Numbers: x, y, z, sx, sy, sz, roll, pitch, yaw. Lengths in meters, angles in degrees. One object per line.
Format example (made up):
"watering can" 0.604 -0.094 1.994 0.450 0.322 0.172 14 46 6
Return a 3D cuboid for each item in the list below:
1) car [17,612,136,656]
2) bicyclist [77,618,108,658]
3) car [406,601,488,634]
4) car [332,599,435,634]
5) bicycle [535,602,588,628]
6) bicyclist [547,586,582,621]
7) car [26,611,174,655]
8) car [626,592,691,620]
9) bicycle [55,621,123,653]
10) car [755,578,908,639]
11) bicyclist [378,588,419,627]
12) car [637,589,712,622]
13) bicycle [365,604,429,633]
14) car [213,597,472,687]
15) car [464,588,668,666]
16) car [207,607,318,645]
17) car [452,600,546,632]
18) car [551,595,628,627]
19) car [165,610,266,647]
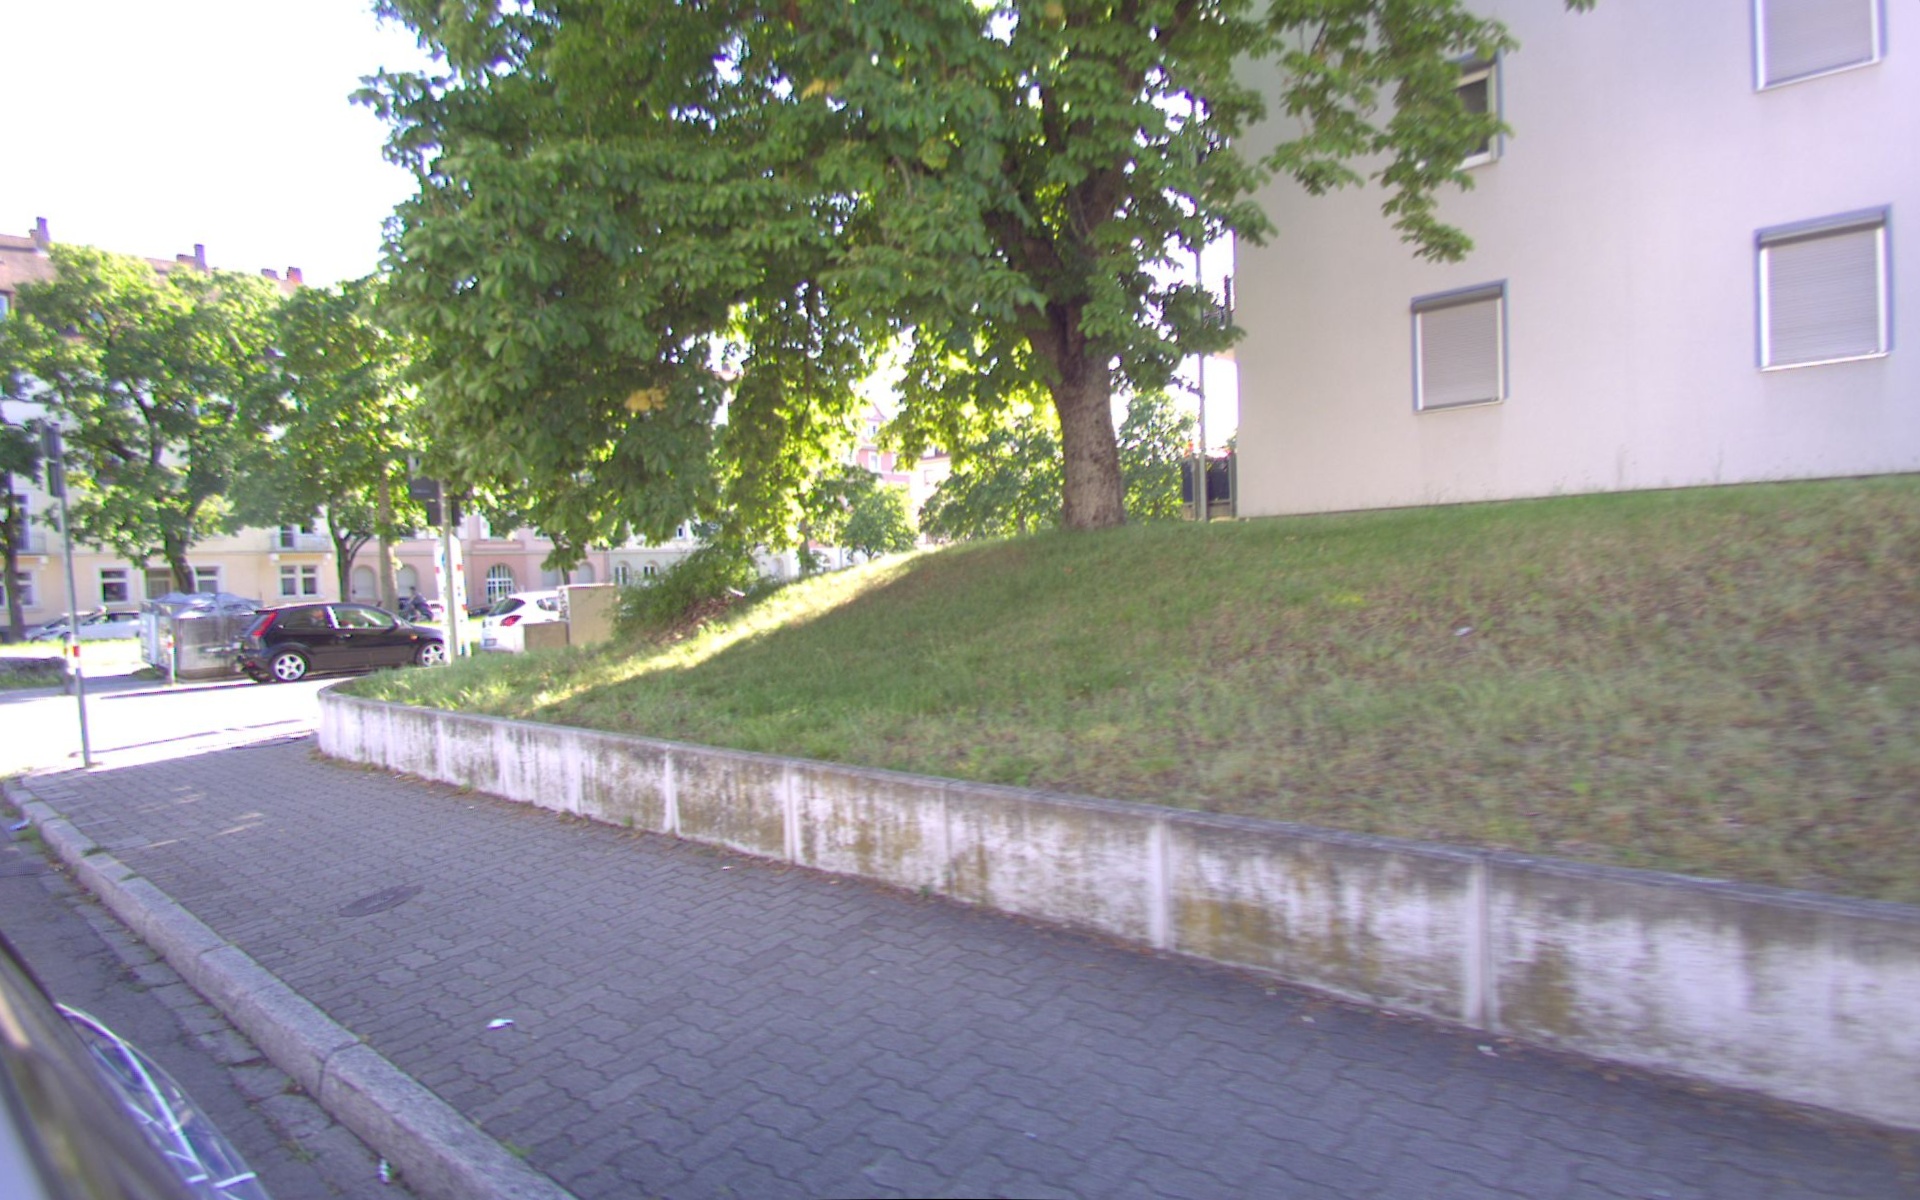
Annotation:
"car" -41.618 1.566 47.718 1.868 1.770 3.947 -1 2 40
"bicyclist" -38.430 1.658 44.850 0.631 1.703 0.868 -2 1 39
"car" -30.556 1.008 60.311 1.852 1.714 3.943 -1 2 44
"car" -29.779 0.832 52.349 1.635 1.560 4.299 -1 2 39
"bicycle" -21.600 0.784 54.923 0.812 1.261 2.600 -1 2 39
"bicyclist" -21.499 0.182 55.002 0.944 1.851 1.430 -2 0 40
"car" -37.216 1.385 43.918 1.697 1.573 4.637 -1 2 39
"car" -21.271 0.390 71.467 1.946 1.764 3.973 -1 2 40
"bicycle" -38.509 1.621 44.765 0.714 1.268 2.126 -1 2 39
"car" -3.542 0.200 28.512 1.785 1.472 4.069 -1 2 42
"bicyclist" -27.396 0.347 49.360 0.942 1.851 1.433 -2 0 33
"car" -18.526 0.340 65.804 1.740 1.922 4.404 -1 1 39
"bicycle" -27.410 0.884 49.303 0.811 1.261 2.603 -2 2 35
"car" -11.704 0.758 19.354 1.753 1.435 3.862 -4 -1 42
"car" -8.753 0.576 22.694 1.783 1.506 3.821 -4 -1 42
"car" -33.350 1.217 48.484 1.697 1.538 4.029 -1 2 39
"car" -25.980 0.885 57.138 1.760 1.560 4.470 -1 2 39
"car" -22.383 0.658 61.263 1.635 1.699 4.029 -1 2 39
"car" -38.043 1.435 51.770 1.889 1.627 3.809 -1 2 40
